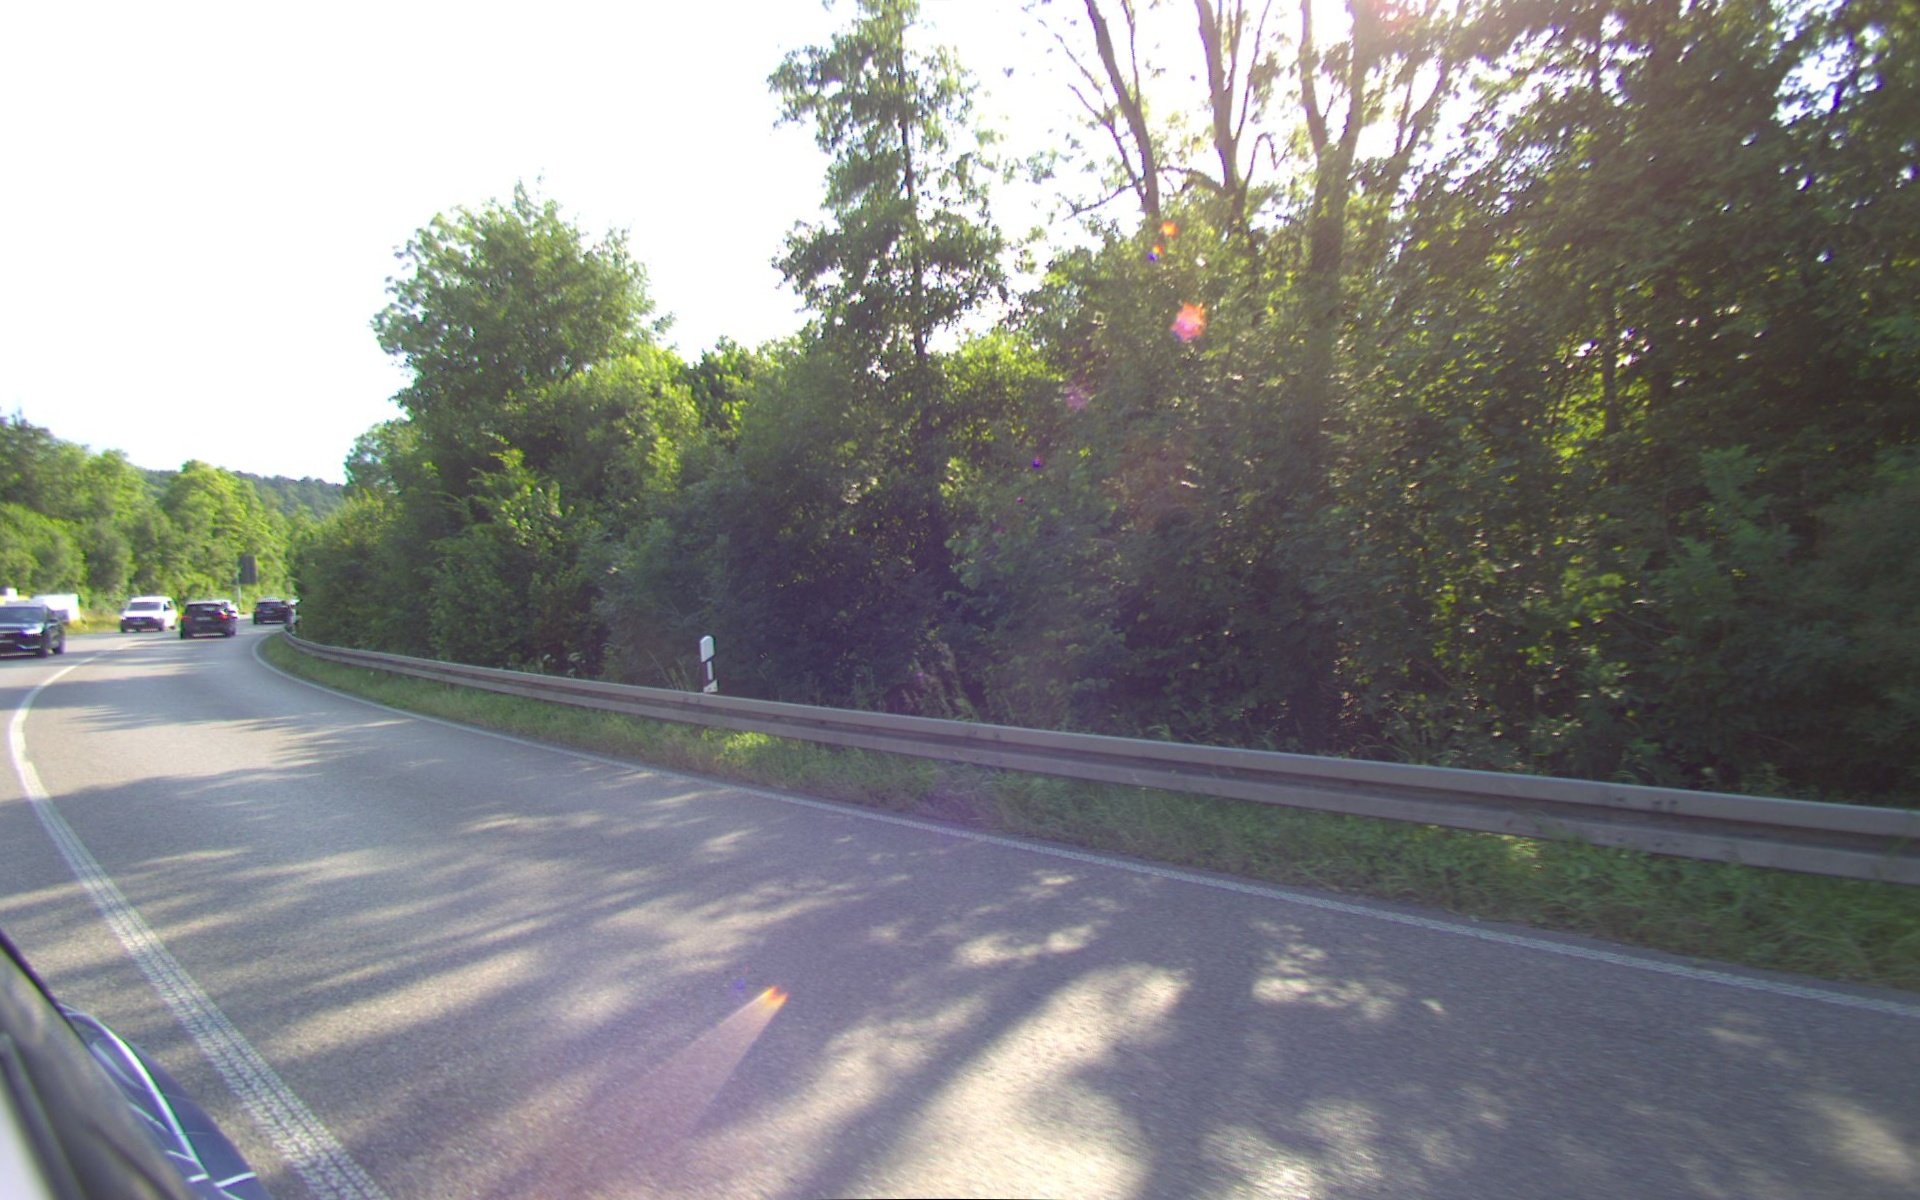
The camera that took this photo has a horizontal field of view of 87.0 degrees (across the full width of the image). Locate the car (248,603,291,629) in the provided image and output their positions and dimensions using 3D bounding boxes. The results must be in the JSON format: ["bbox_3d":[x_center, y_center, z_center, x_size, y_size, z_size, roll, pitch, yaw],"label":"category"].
[{"bbox_3d":[-42.968,0.940,63.011,1.824,1.519,4.417,0,0,-29],"label":"car"}]

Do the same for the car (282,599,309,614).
[{"bbox_3d":[-73.950,0.670,112.673,1.884,1.476,4.552,-3,2,-26],"label":"car"}]

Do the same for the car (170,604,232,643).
[{"bbox_3d":[-33.412,1.001,44.653,1.842,1.601,4.260,0,0,-32],"label":"car"}]

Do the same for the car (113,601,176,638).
[{"bbox_3d":[-42.788,0.983,53.202,1.837,1.733,4.778,-3,2,-30],"label":"car"}]

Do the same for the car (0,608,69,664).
[{"bbox_3d":[-29.100,1.076,31.156,1.819,1.581,4.269,-1,1,-32],"label":"car"}]

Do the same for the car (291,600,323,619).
[{"bbox_3d":[-53.069,0.776,82.279,1.637,1.456,3.934,-1,1,-25],"label":"car"}]
